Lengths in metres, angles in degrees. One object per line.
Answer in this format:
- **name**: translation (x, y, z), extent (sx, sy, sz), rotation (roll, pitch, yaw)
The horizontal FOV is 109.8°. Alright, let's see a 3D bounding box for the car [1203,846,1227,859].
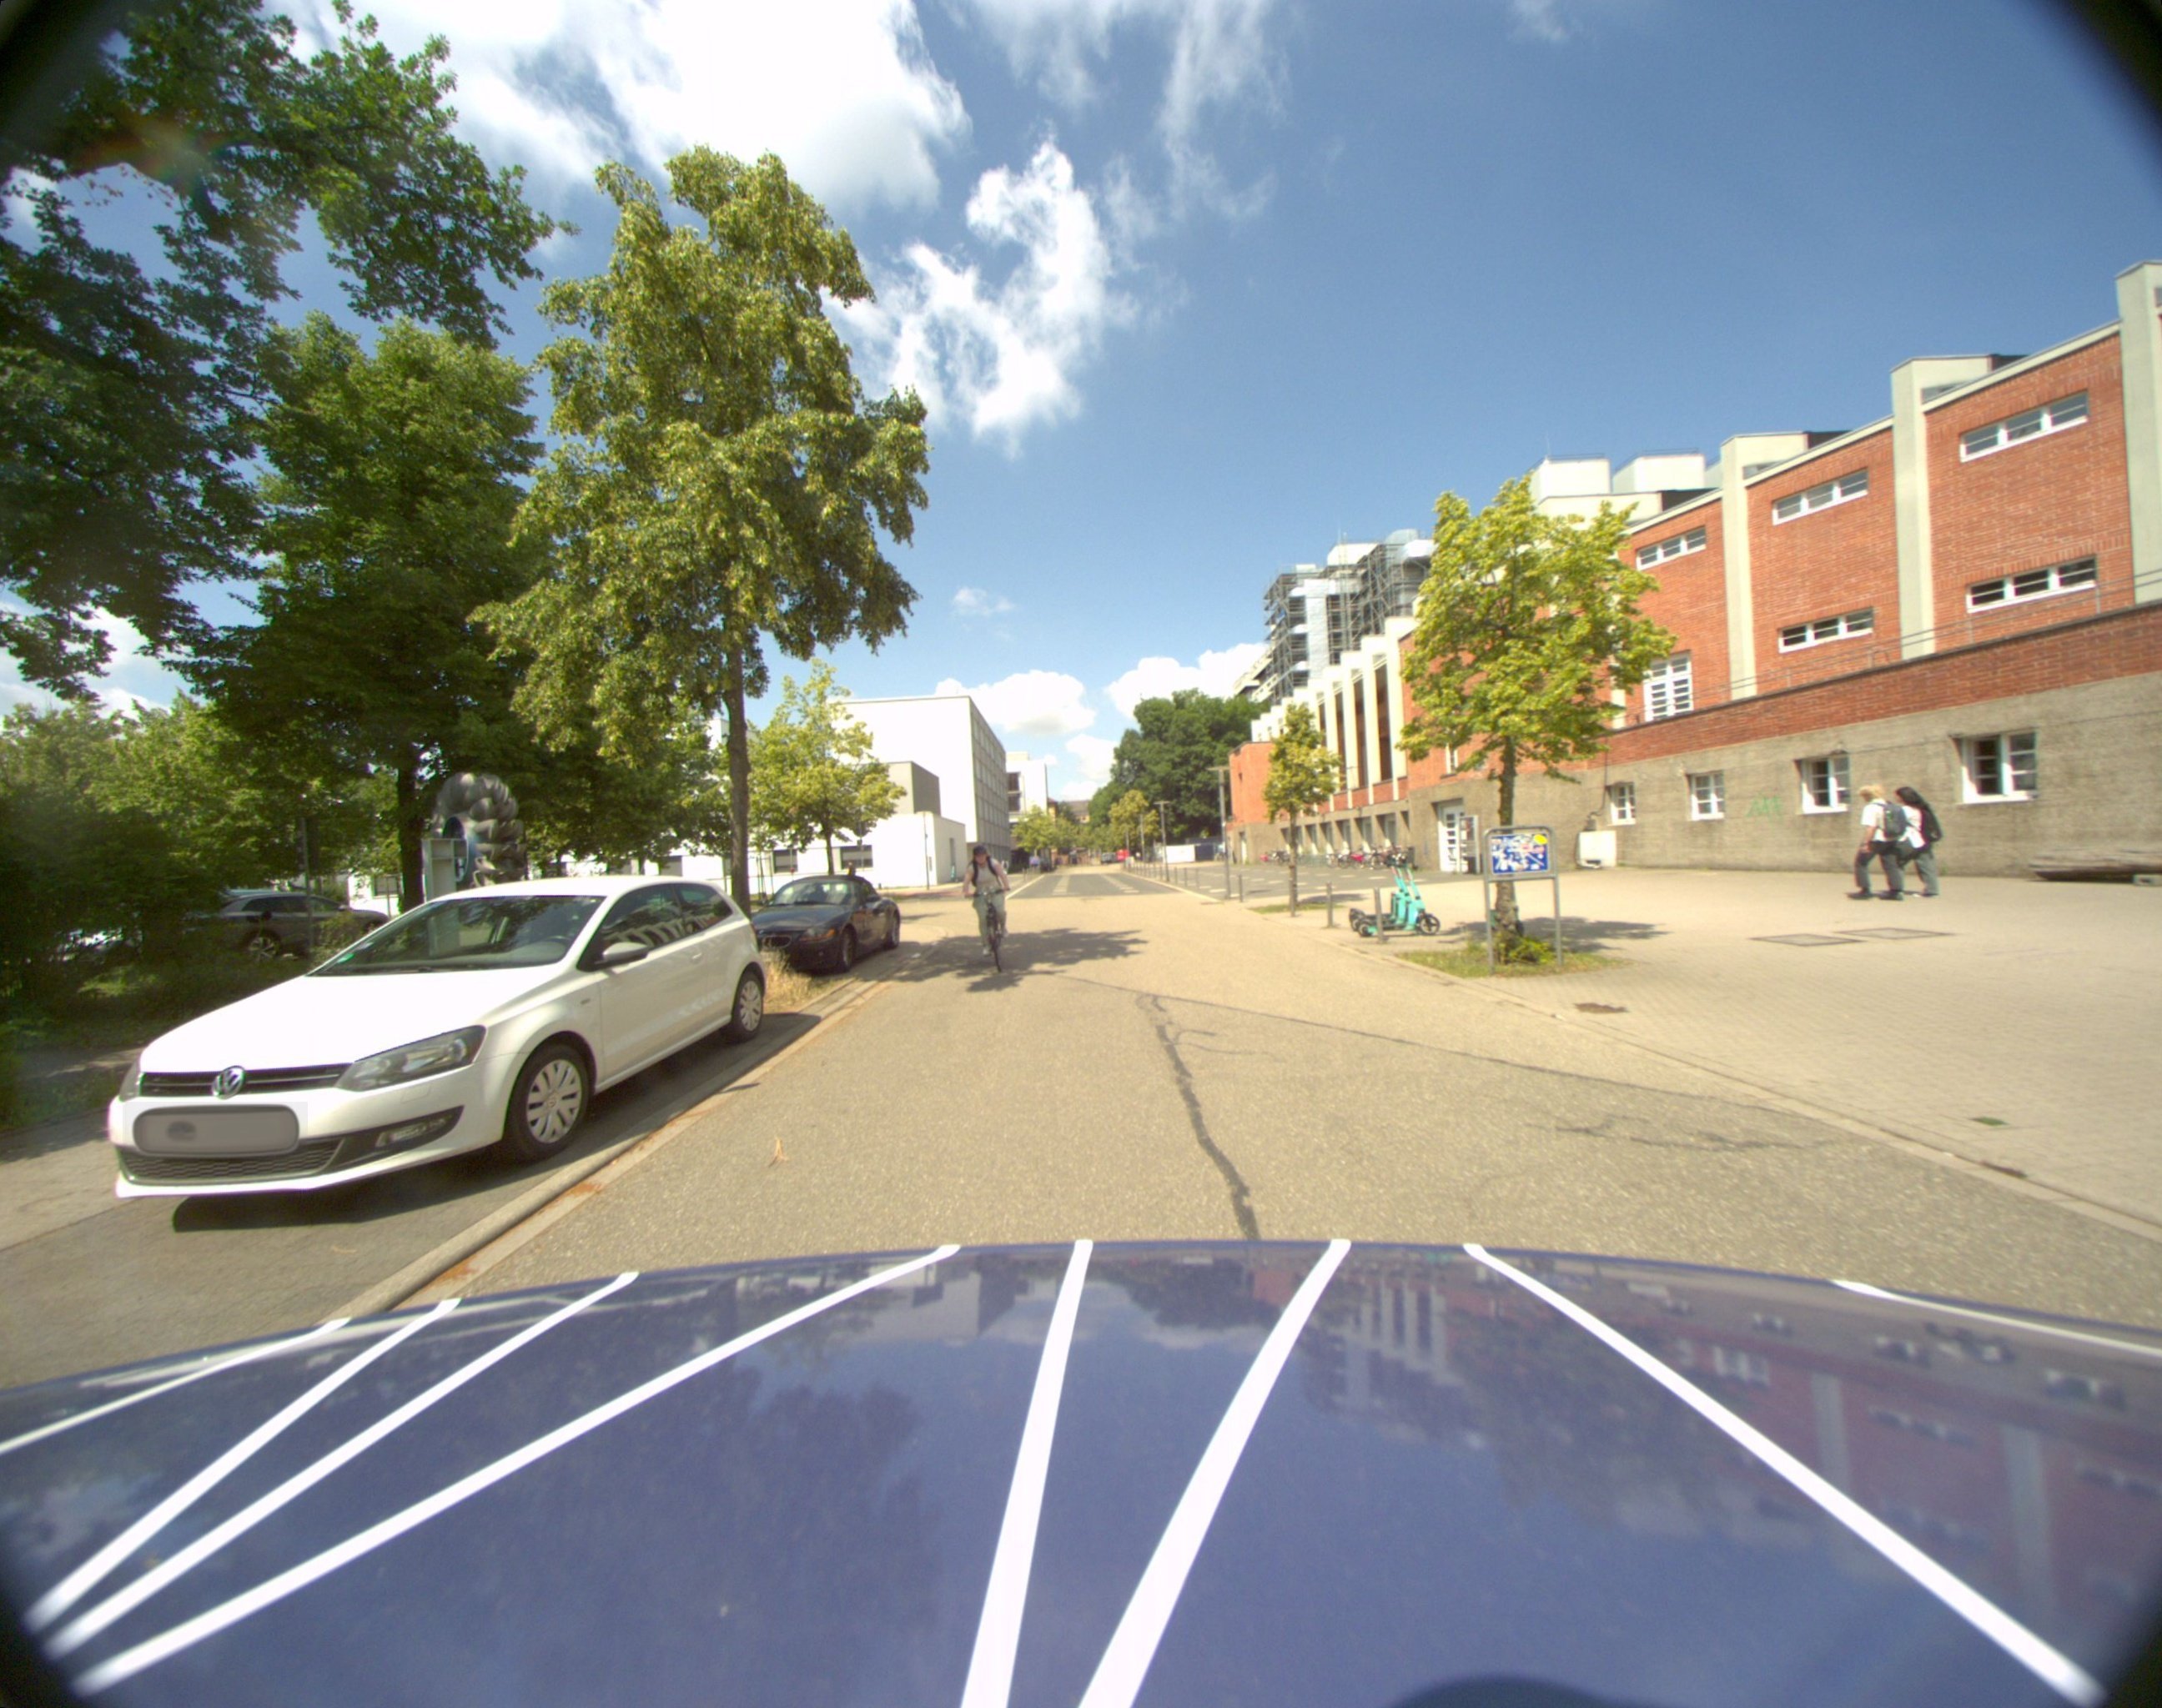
- **car**: translation (13.848, -0.135, 78.606), extent (2.325, 1.173, 0.479), rotation (-4, 1, 1)

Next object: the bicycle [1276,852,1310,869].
- **bicycle**: translation (13.433, 0.424, 48.093), extent (1.955, 0.935, 0.569), rotation (-4, 1, -2)

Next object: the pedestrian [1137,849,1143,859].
- **pedestrian**: translation (8.782, -0.024, 112.957), extent (0.642, 1.530, 0.453), rotation (-3, 1, 11)

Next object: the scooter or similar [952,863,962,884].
- **scooter or similar**: translation (-7.669, 1.178, 46.973), extent (0.327, 1.228, 1.073), rotation (-3, 1, 2)

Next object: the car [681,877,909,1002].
- **car**: translation (-3.904, 1.091, 11.167), extent (1.712, 1.273, 4.000), rotation (-4, 0, 1)

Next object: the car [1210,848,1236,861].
- **car**: translation (13.898, 0.054, 74.372), extent (2.368, 1.173, 0.794), rotation (-4, 1, 1)

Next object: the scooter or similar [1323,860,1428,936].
- **scooter or similar**: translation (5.067, 0.761, 13.082), extent (1.571, 1.218, 0.571), rotation (-3, 1, 27)

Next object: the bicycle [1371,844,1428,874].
- **bicycle**: translation (13.089, 0.206, 31.243), extent (2.027, 1.119, 0.667), rotation (-4, 1, -2)

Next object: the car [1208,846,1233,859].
- **car**: translation (13.977, -0.147, 76.152), extent (2.289, 1.173, 0.524), rotation (-4, 1, 1)

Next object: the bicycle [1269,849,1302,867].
- **bicycle**: translation (13.362, 0.261, 49.645), extent (1.955, 1.024, 0.530), rotation (-4, 1, -2)

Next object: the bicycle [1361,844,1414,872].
- **bicycle**: translation (13.332, 0.173, 33.060), extent (2.026, 1.119, 0.592), rotation (-4, 1, 0)

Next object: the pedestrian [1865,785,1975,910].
- **pedestrian**: translation (12.603, -0.096, 11.442), extent (0.577, 1.769, 0.917), rotation (-4, 1, -1)

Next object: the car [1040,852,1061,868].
- **car**: translation (-3.416, 0.682, 86.789), extent (1.939, 1.671, 3.470), rotation (-3, 0, 4)

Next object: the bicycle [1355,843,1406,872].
- **bicycle**: translation (13.405, 0.147, 34.008), extent (2.026, 1.119, 0.439), rotation (-5, 1, 3)

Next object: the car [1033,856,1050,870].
- **car**: translation (-4.043, 0.904, 78.490), extent (1.552, 1.377, 3.453), rotation (-3, 0, -2)

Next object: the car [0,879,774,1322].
- **car**: translation (-3.519, 0.994, 4.859), extent (1.591, 1.458, 3.987), rotation (-2, 0, -3)

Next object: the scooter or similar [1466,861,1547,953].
- **scooter or similar**: translation (5.930, 0.710, 10.652), extent (0.564, 1.142, 1.350), rotation (-3, 1, 12)

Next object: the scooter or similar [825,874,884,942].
- **scooter or similar**: translation (-4.636, 1.086, 15.643), extent (0.554, 1.247, 1.382), rotation (-3, 1, 8)

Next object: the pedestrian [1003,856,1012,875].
- **pedestrian**: translation (-5.893, 0.911, 60.651), extent (0.525, 1.430, 0.701), rotation (-3, 1, 2)

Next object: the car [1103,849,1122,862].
- **car**: translation (5.548, 0.264, 134.022), extent (2.023, 2.079, 4.438), rotation (-4, 0, 21)

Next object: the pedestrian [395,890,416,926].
- **pedestrian**: translation (-35.156, 2.804, 39.550), extent (0.712, 1.759, 0.828), rotation (-4, 1, -41)

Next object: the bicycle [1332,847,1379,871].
- **bicycle**: translation (13.470, 0.227, 37.276), extent (2.027, 1.055, 0.663), rotation (-4, 1, -2)

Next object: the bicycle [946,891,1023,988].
- **bicycle**: translation (-1.282, 1.113, 10.534), extent (0.675, 1.066, 2.136), rotation (-3, 0, 2)

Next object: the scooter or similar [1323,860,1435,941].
- **scooter or similar**: translation (4.805, 0.756, 12.273), extent (1.571, 1.218, 0.566), rotation (-3, 1, 27)

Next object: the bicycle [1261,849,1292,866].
- **bicycle**: translation (13.389, 0.255, 52.111), extent (1.955, 1.024, 0.518), rotation (-4, 1, -2)

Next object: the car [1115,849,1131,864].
- **car**: translation (5.941, 0.350, 107.761), extent (1.912, 1.870, 4.002), rotation (-4, 0, 6)

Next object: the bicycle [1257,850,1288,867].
- **bicycle**: translation (13.332, 0.301, 52.957), extent (1.955, 1.024, 0.542), rotation (-4, 1, -2)

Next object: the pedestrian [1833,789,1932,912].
- **pedestrian**: translation (12.040, -0.057, 11.433), extent (0.564, 1.752, 0.805), rotation (-4, 1, -1)

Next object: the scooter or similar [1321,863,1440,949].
- **scooter or similar**: translation (4.537, 0.799, 11.537), extent (1.571, 1.218, 0.525), rotation (-3, 1, 27)

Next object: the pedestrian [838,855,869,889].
- **pedestrian**: translation (-12.207, 0.973, 40.764), extent (1.168, 1.789, 1.023), rotation (-2, 0, 28)

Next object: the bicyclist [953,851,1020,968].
- **bicyclist**: translation (-1.284, 0.731, 10.475), extent (0.675, 1.470, 1.062), rotation (-3, 2, 1)

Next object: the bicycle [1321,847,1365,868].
- **bicycle**: translation (13.466, 0.190, 39.049), extent (1.955, 0.955, 0.684), rotation (-4, 1, -2)

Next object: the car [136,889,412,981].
- **car**: translation (-18.780, 1.785, 18.064), extent (1.894, 1.642, 4.362), rotation (-4, 0, -2)

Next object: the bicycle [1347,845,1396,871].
- **bicycle**: translation (13.565, 0.195, 35.460), extent (2.015, 1.076, 0.621), rotation (-4, 1, -2)
